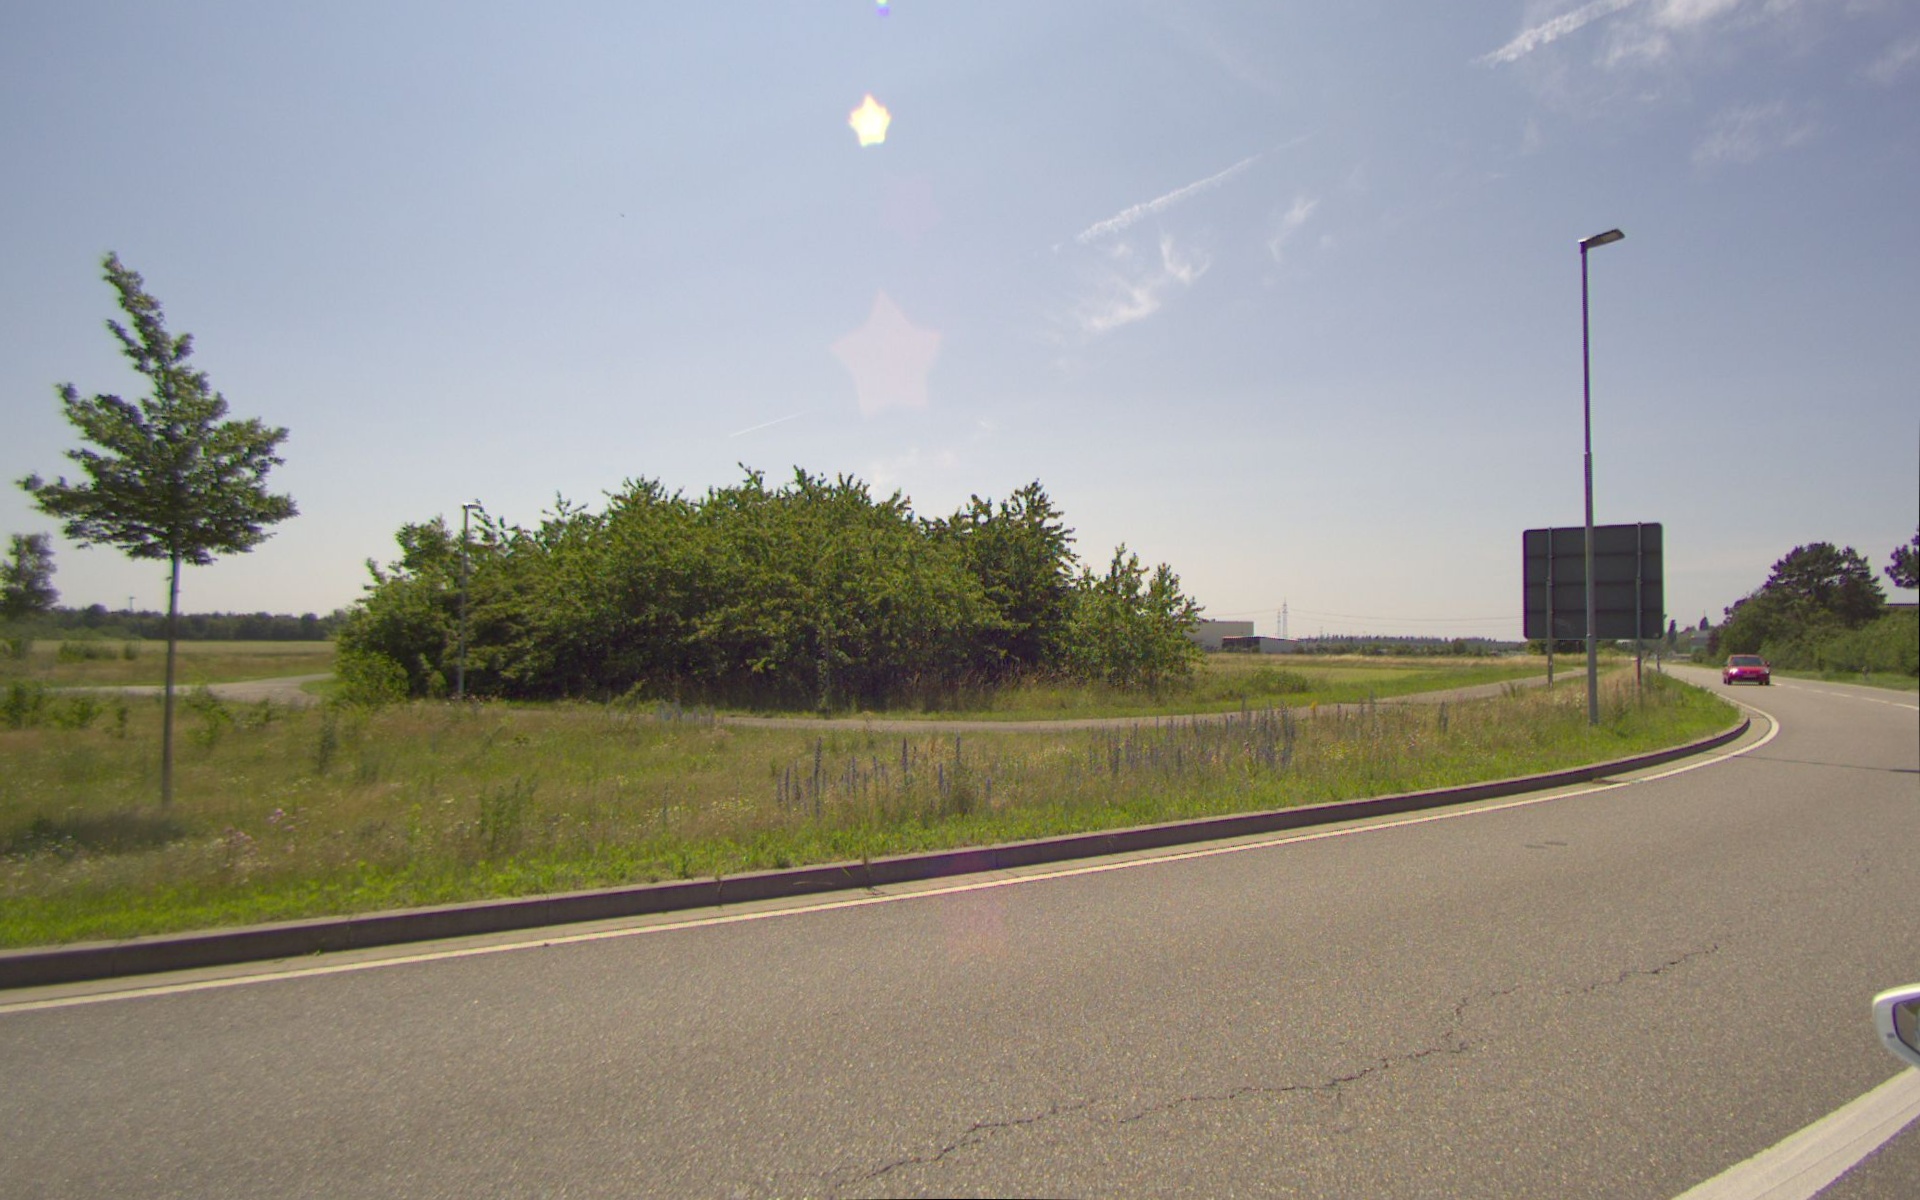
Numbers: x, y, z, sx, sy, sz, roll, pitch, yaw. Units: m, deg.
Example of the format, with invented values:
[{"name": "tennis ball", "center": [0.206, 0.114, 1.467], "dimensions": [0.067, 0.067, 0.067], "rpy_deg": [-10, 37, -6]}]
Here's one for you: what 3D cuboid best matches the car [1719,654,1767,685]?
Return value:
[{"name": "car", "center": [39.039, 3.453, 50.155], "dimensions": [1.633, 1.452, 3.725], "rpy_deg": [-3, -4, 35]}]
